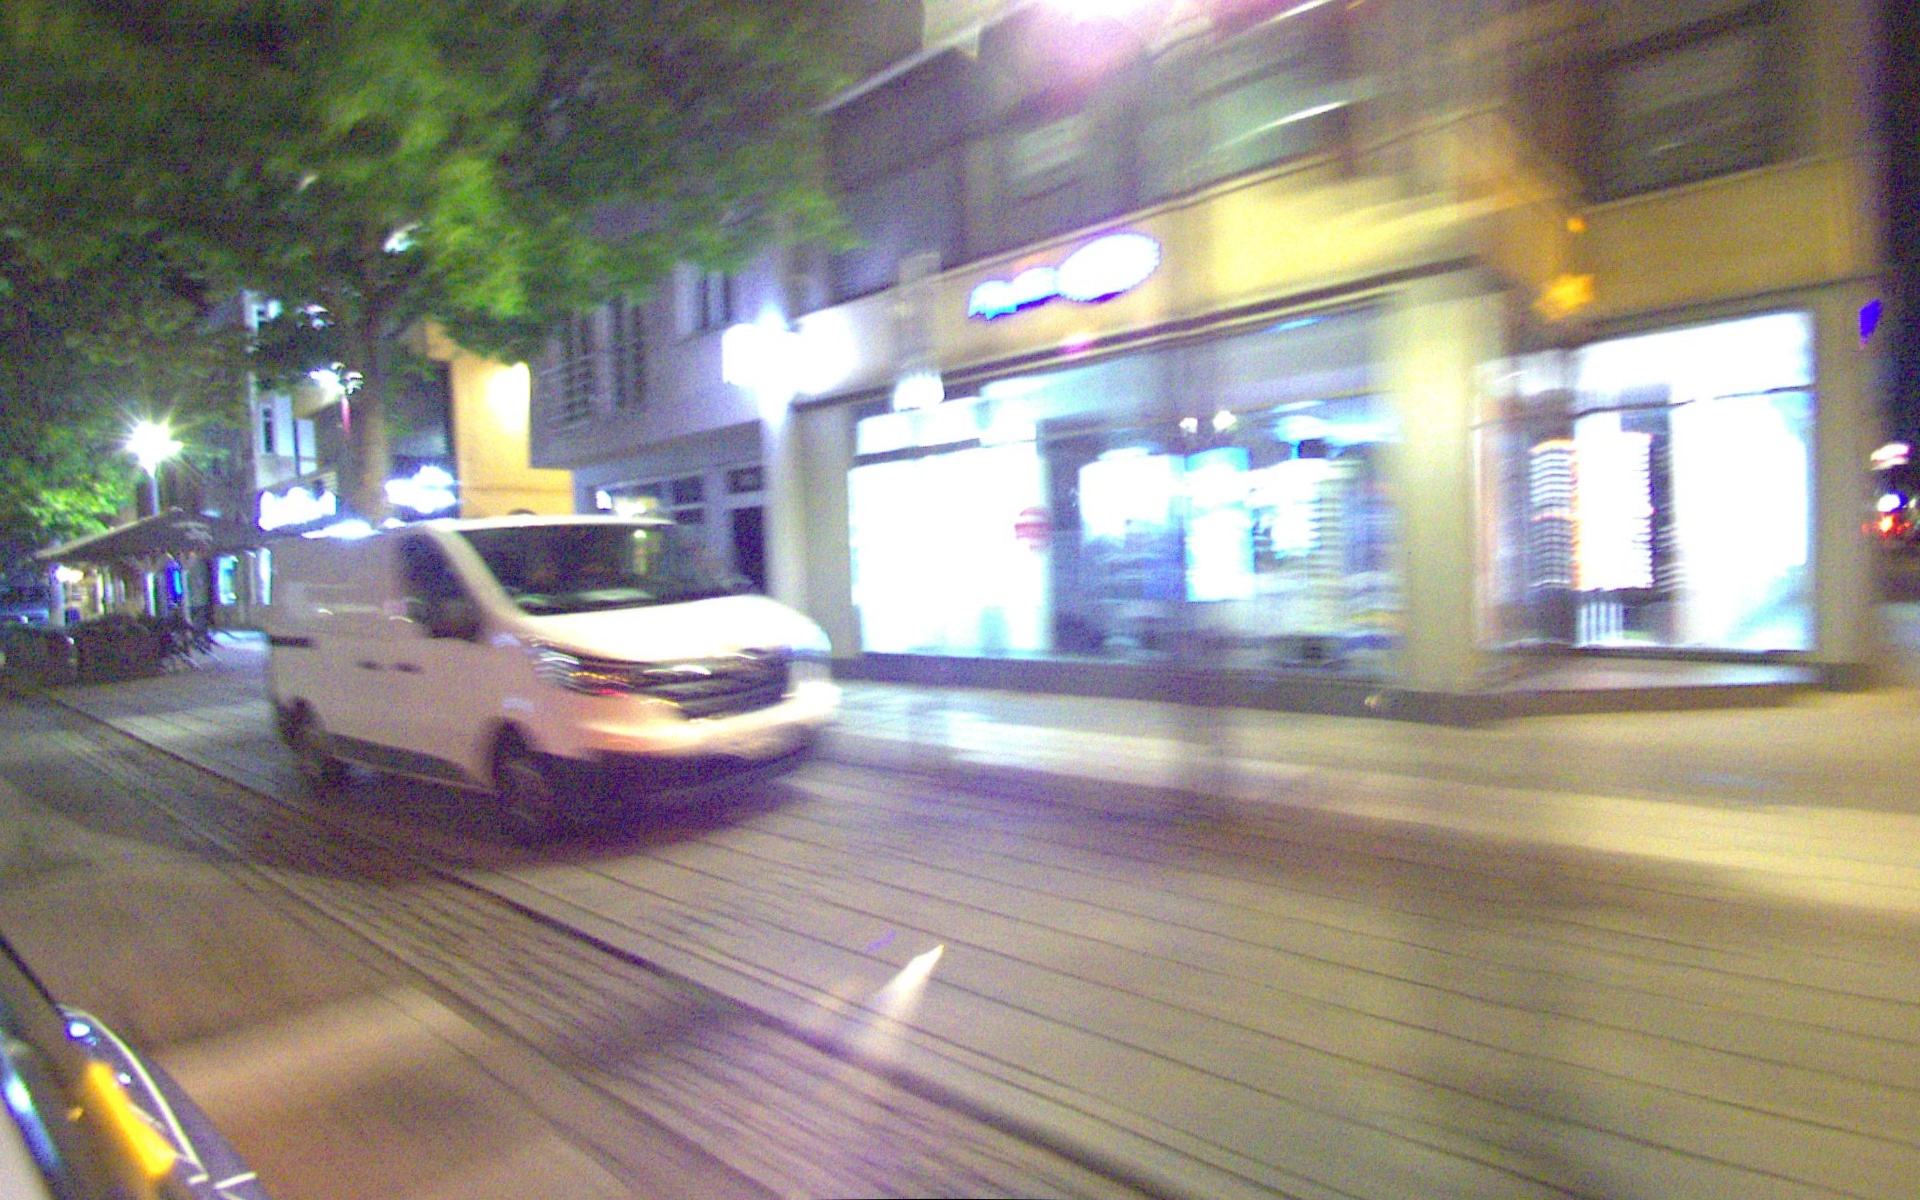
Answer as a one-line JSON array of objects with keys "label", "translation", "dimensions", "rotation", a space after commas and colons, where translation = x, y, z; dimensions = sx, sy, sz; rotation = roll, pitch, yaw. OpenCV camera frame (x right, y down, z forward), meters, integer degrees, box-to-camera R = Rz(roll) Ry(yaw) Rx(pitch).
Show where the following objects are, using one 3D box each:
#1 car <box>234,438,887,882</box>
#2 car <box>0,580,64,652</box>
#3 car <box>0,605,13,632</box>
[{"label": "car", "translation": [-3.053, 0.248, 7.071], "dimensions": [5.084, 2.102, 1.835], "rotation": [-1, 4, 39]}, {"label": "car", "translation": [-28.980, 0.493, 30.838], "dimensions": [5.076, 1.979, 1.904], "rotation": [-1, 3, 43]}, {"label": "car", "translation": [-55.523, 1.094, 57.808], "dimensions": [4.001, 1.516, 1.772], "rotation": [-1, 3, 44]}]
